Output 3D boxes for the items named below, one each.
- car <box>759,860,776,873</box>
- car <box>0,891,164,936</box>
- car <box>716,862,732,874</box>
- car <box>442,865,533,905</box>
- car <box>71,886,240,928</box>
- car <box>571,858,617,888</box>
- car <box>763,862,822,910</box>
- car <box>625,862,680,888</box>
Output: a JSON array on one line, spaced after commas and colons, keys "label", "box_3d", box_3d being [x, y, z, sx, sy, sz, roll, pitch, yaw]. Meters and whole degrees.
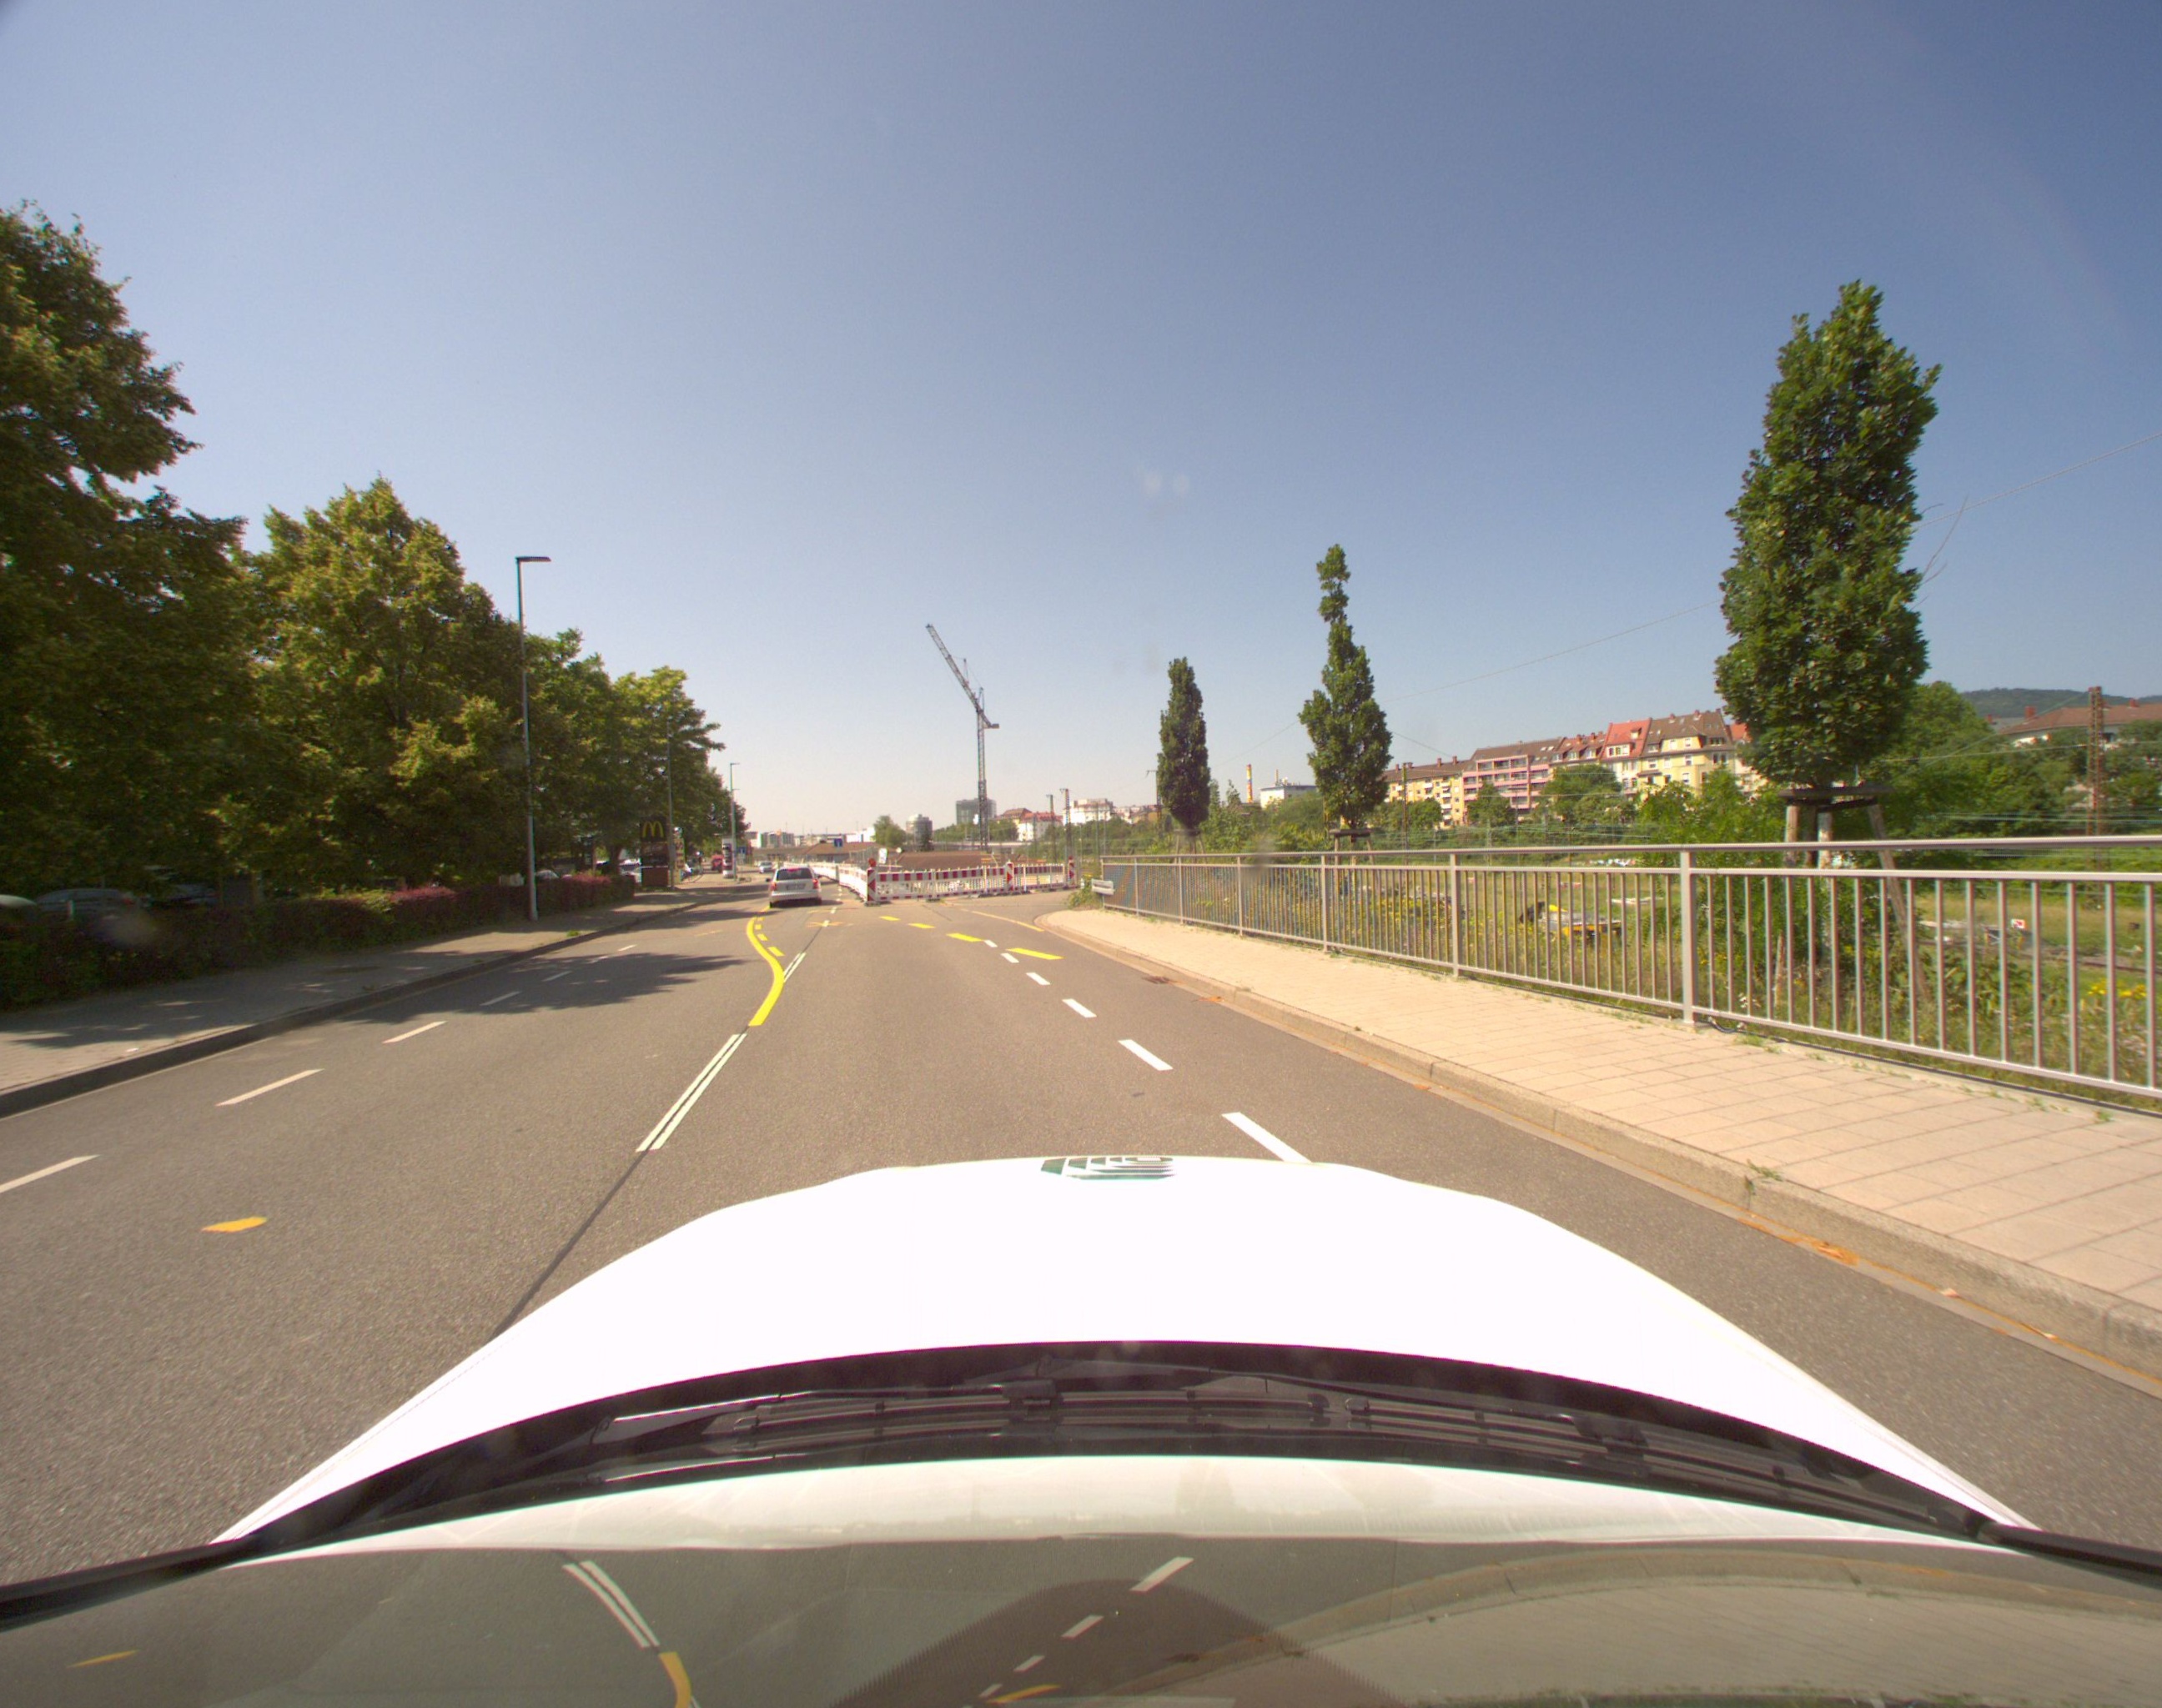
[{"label": "car", "box_3d": [-39.189, 1.533, 101.708, 1.685, 1.493, 4.569, -3, 1, -24]}, {"label": "car", "box_3d": [-36.934, 2.154, 29.850, 4.083, 1.395, 1.612, -2, 0, -29]}, {"label": "car", "box_3d": [-50.895, 1.943, 116.194, 1.876, 1.498, 4.003, -4, 2, -21]}, {"label": "car", "box_3d": [-36.705, 1.896, 50.393, 4.477, 1.919, 1.901, -5, 2, 14]}, {"label": "car", "box_3d": [-37.124, 2.109, 32.837, 4.107, 1.387, 1.753, -2, 0, -29]}, {"label": "car", "box_3d": [-47.956, 1.845, 80.325, 2.282, 2.757, 6.117, -3, 0, -17]}, {"label": "car", "box_3d": [-10.123, 1.062, 28.836, 1.713, 1.403, 4.360, -4, 1, -18]}, {"label": "car", "box_3d": [-36.858, 1.798, 69.983, 4.603, 1.706, 1.995, -6, 0, 31]}]
